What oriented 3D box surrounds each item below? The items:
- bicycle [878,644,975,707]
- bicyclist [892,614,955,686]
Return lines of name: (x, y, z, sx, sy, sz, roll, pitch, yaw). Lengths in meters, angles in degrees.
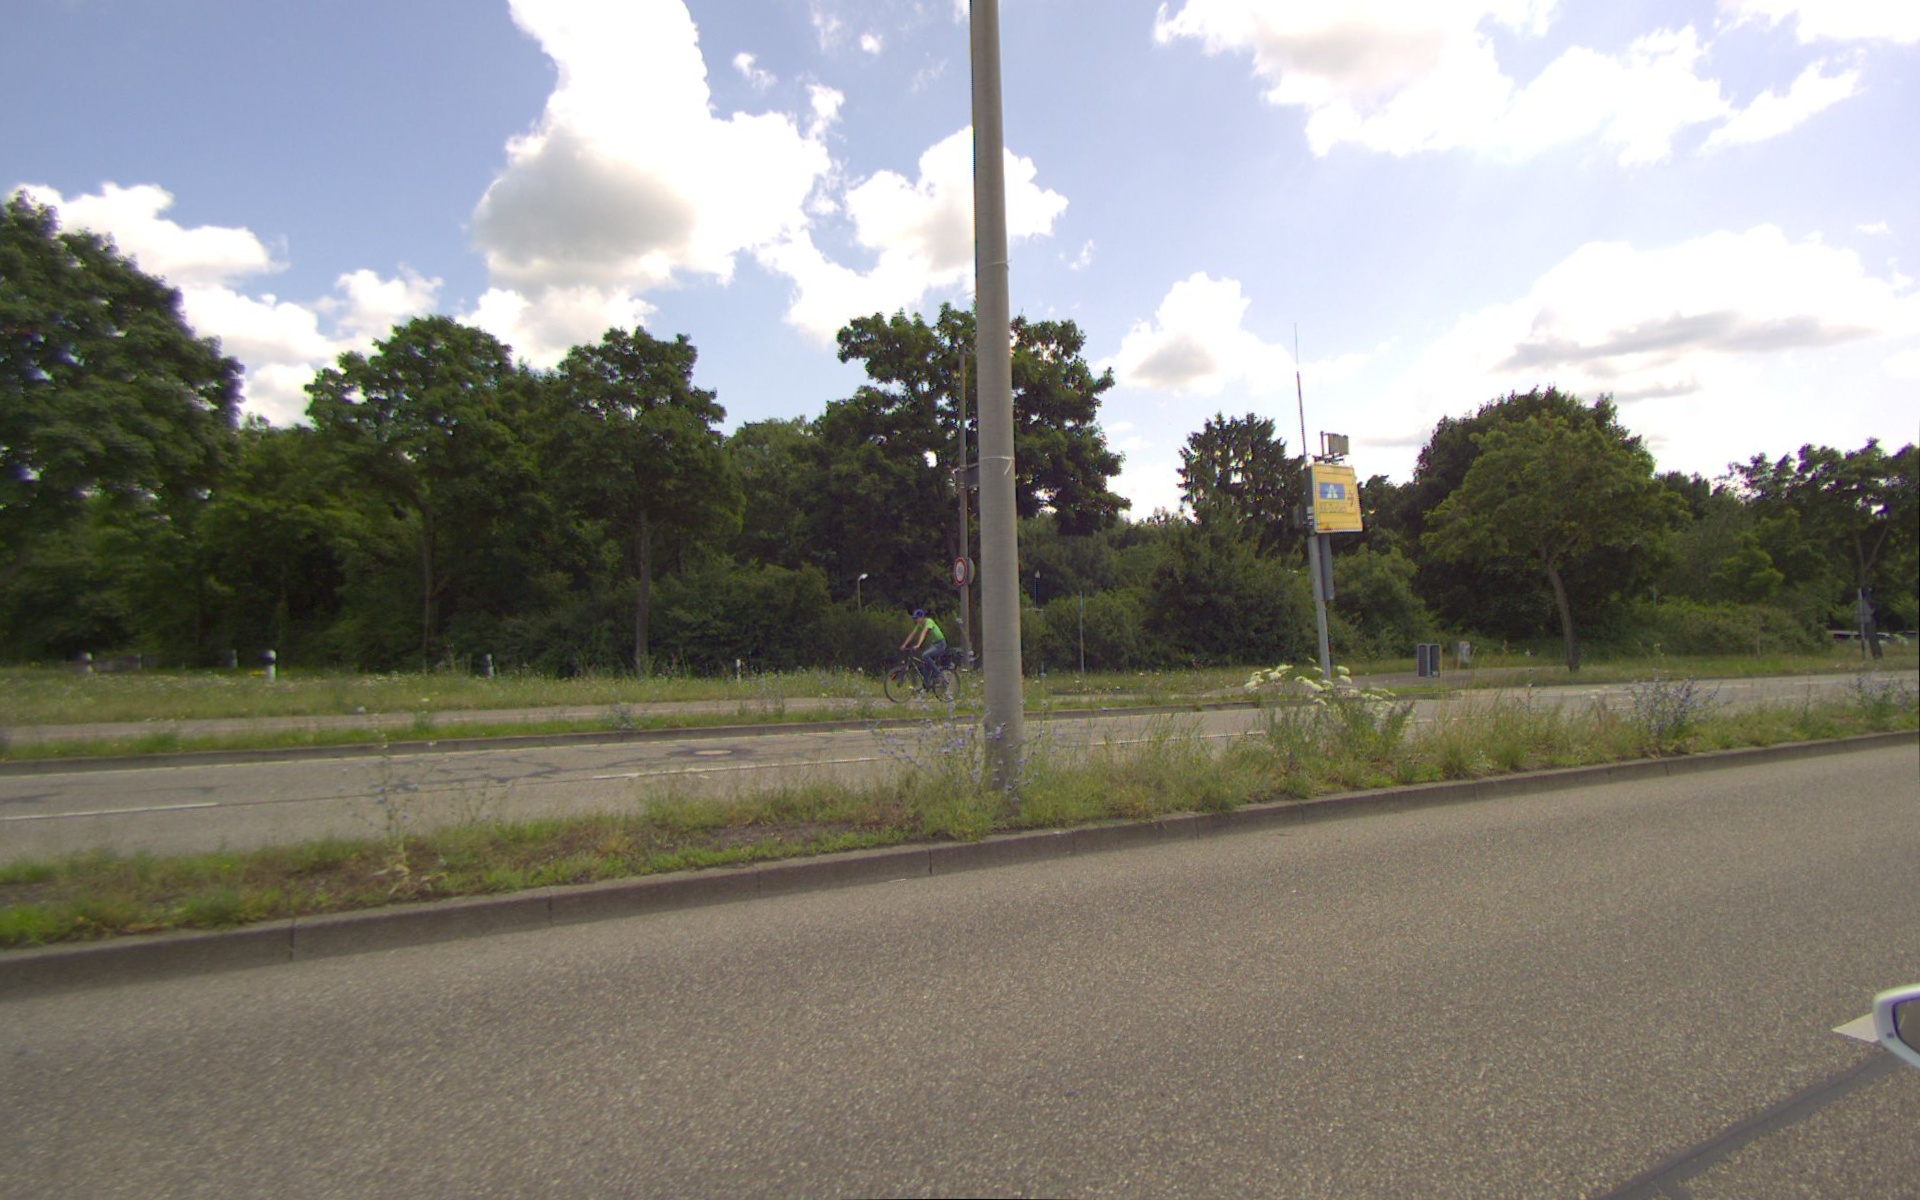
bicycle: (-0.621, 1.402, 18.931, 1.887, 1.082, 0.429, 0, 1, -33)
bicyclist: (-0.685, 0.917, 18.881, 1.095, 1.289, 0.517, -1, 1, -33)
